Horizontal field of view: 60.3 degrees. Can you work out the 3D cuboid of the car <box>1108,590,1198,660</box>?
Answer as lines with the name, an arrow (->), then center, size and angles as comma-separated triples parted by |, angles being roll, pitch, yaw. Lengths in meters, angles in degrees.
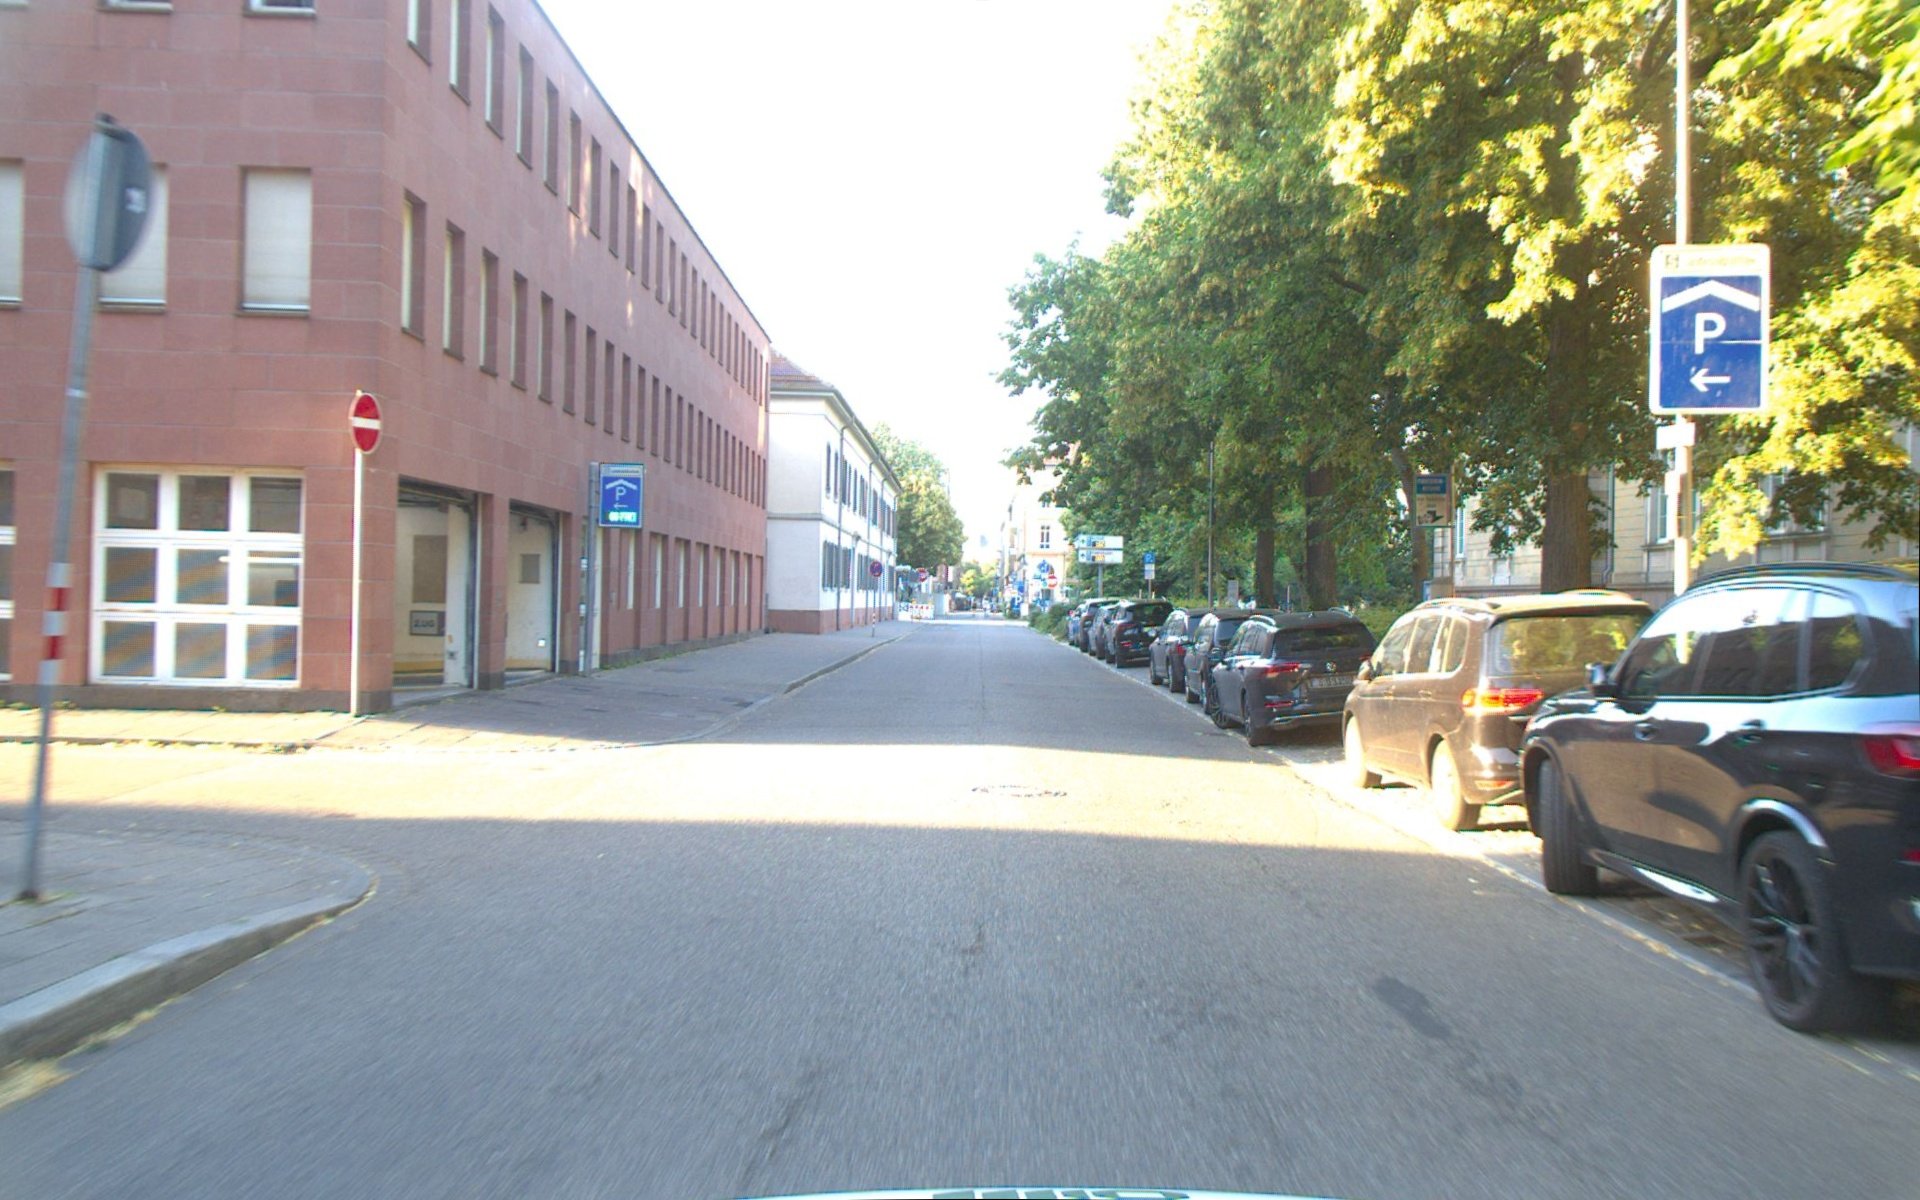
car -> 4.859, 0.640, 42.126 | 1.770, 1.680, 4.418 | 0, -1, 0

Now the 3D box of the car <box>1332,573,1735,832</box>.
car -> 4.325, 0.714, 13.266 | 1.688, 1.712, 4.499 | 0, -1, 0

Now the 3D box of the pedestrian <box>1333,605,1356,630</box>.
pedestrian -> 20.713, 0.947, 89.107 | 0.901, 1.371, 0.881 | 1, -1, -15

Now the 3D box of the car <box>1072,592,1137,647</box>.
car -> 4.577, 0.621, 53.016 | 1.688, 1.680, 4.712 | 0, -1, 0

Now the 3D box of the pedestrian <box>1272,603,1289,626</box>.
pedestrian -> 16.931, 0.760, 87.440 | 0.790, 1.212, 0.789 | 1, -1, 4

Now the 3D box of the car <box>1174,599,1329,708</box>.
car -> 4.466, 0.803, 25.898 | 1.688, 1.560, 4.189 | 0, -1, 0

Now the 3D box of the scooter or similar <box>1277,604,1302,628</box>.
scooter or similar -> 17.216, 0.836, 86.408 | 1.196, 1.267, 0.416 | 1, -1, -16

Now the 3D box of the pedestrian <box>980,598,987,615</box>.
pedestrian -> 2.353, 0.624, 164.060 | 0.644, 1.664, 0.745 | 1, 0, 1

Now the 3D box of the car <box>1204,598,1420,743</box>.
car -> 4.171, 0.798, 20.303 | 1.688, 1.560, 4.622 | 0, -1, 0

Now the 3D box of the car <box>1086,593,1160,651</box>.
car -> 4.596, 0.637, 47.154 | 1.688, 1.565, 4.189 | 0, -1, 0

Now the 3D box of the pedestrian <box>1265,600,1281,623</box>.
pedestrian -> 16.383, 0.614, 86.539 | 0.650, 1.212, 0.794 | 0, -1, 28

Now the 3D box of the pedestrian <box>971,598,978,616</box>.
pedestrian -> 1.471, 0.704, 164.070 | 0.644, 1.790, 0.745 | 1, 0, 1

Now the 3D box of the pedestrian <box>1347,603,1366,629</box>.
pedestrian -> 21.476, 0.856, 89.587 | 0.746, 1.371, 0.784 | 1, -1, -16

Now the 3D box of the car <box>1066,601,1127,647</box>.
car -> 4.841, 0.847, 59.234 | 1.689, 1.514, 4.609 | -3, 0, -1

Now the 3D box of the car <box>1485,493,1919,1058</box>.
car -> 4.059, 0.611, 7.661 | 1.767, 1.845, 4.947 | 0, -1, 1

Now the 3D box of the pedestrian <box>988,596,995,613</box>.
pedestrian -> 3.104, 0.478, 162.086 | 0.644, 1.645, 0.745 | 1, 0, 1

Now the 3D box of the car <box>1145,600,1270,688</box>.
car -> 4.573, 0.799, 31.122 | 1.699, 1.533, 4.522 | 0, -1, 0
